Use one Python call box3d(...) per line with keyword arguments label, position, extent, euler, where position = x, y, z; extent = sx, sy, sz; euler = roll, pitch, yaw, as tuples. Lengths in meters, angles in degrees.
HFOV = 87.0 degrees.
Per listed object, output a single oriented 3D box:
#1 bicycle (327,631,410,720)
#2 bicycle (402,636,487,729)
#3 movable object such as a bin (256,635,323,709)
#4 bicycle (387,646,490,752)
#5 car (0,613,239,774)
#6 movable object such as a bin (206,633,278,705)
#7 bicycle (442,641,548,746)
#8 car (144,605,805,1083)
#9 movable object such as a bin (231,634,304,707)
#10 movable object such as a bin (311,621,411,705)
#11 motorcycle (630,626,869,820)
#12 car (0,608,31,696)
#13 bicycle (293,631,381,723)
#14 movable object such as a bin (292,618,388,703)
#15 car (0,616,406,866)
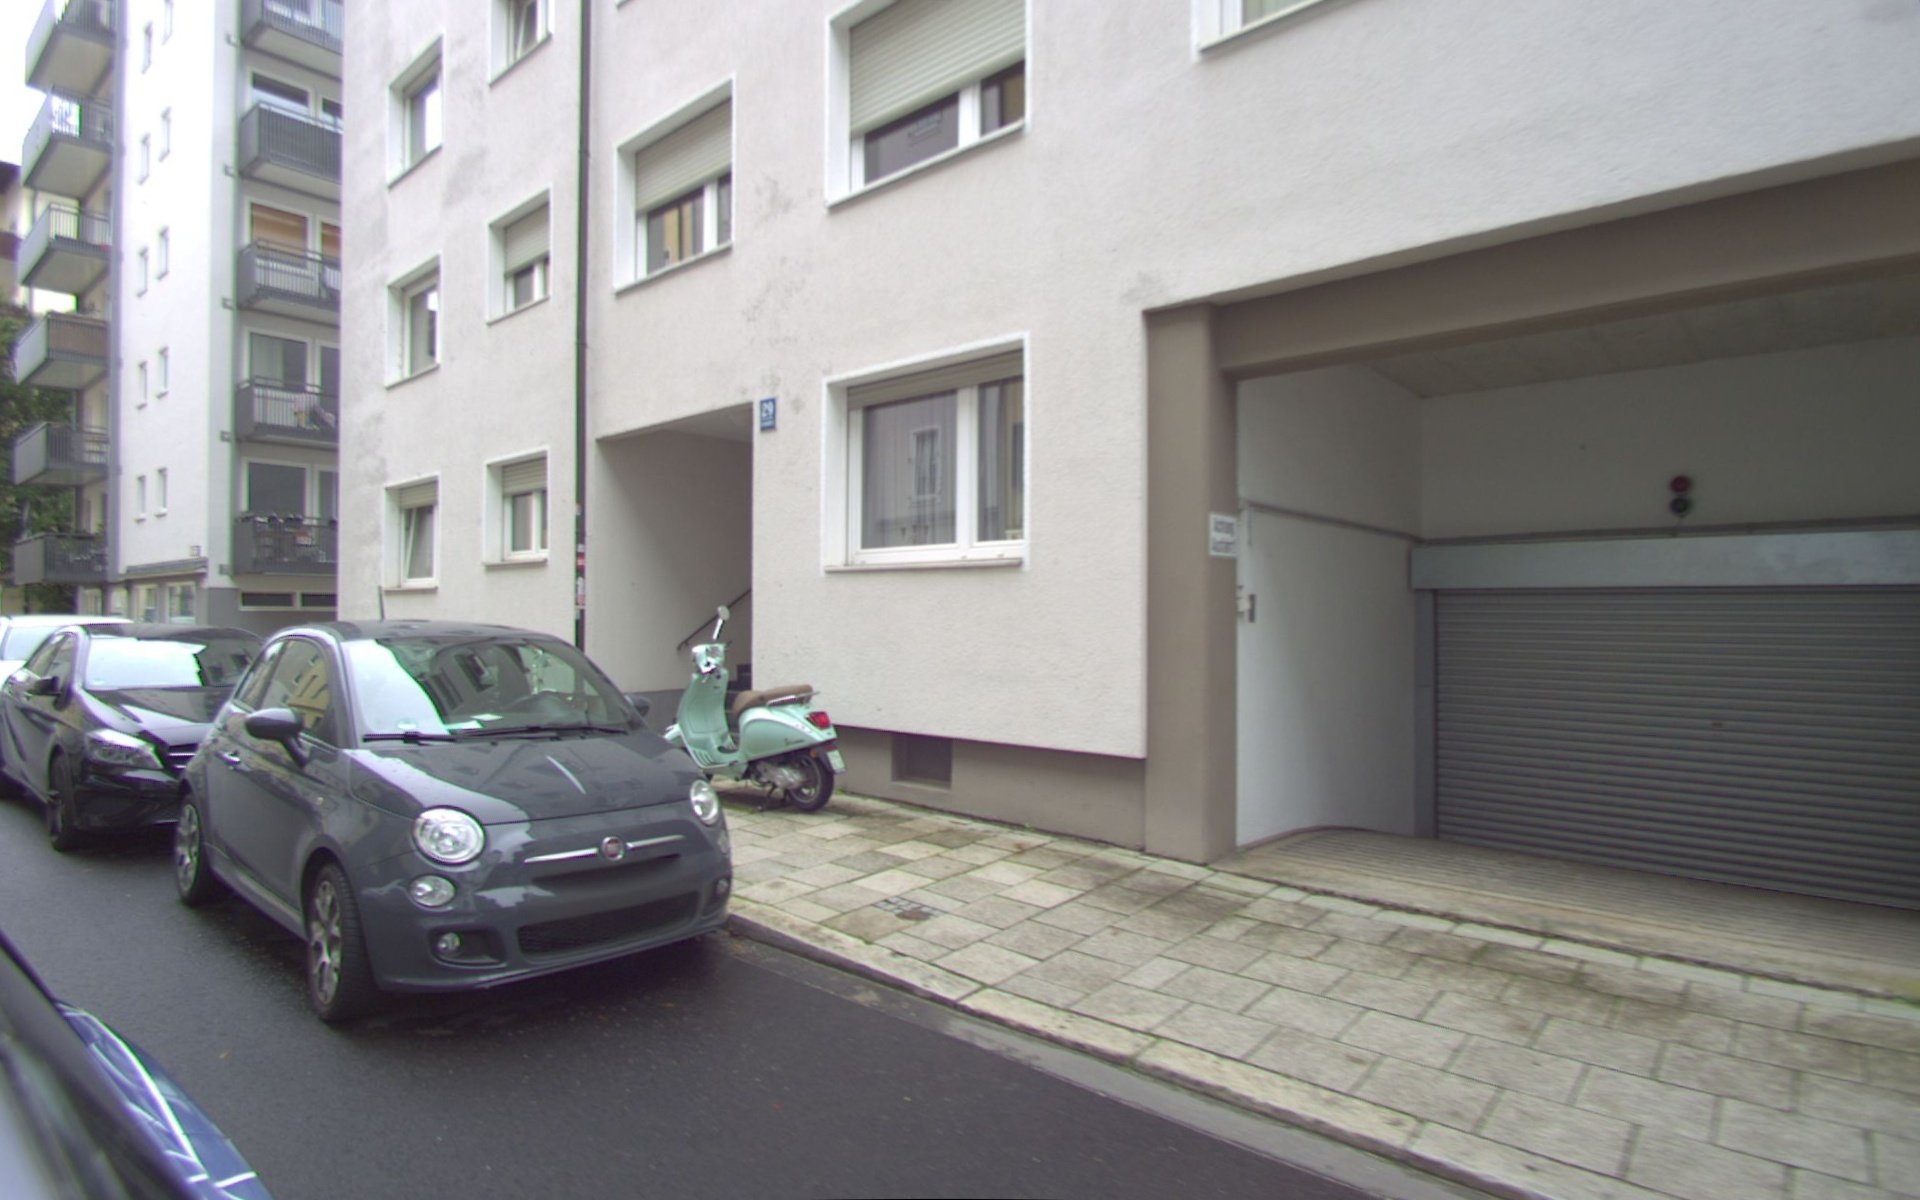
box3d(label="bicycle", position=(-8.162, 1.006, 13.945), extent=(1.680, 1.147, 0.338), euler=(-1, -1, 36))
box3d(label="bicycle", position=(-6.129, 0.954, 12.003), extent=(1.441, 1.024, 0.375), euler=(-1, -2, 42))
box3d(label="movable object such as a bin", position=(-10.273, 1.085, 15.510), extent=(0.603, 1.084, 0.684), euler=(-1, -1, 35))
box3d(label="bicycle", position=(-5.583, 1.017, 10.798), extent=(1.623, 1.024, 0.383), euler=(-1, -2, 41))
box3d(label="car", position=(-9.904, 0.870, 11.303), extent=(4.805, 1.448, 1.893), euler=(-1, -1, 40))
box3d(label="movable object such as a bin", position=(-11.444, 1.085, 16.138), extent=(0.677, 1.084, 0.761), euler=(-1, -1, 35))
box3d(label="bicycle", position=(-5.017, 0.969, 10.878), extent=(1.574, 1.024, 0.394), euler=(-1, -2, 41))
box3d(label="car", position=(-2.594, 0.801, 4.975), extent=(3.742, 1.457, 1.594), euler=(-1, -3, 42))
box3d(label="movable object such as a bin", position=(-10.825, 1.082, 15.828), extent=(0.633, 1.084, 0.761), euler=(-1, -1, 35))
box3d(label="movable object such as a bin", position=(-9.670, 0.981, 16.351), extent=(1.096, 1.272, 1.109), euler=(-1, -1, 41))
box3d(label="motorcycle", position=(-1.546, 0.806, 7.257), extent=(1.855, 1.213, 0.594), euler=(-1, -1, 36))
box3d(label="car", position=(-19.862, 0.972, 19.795), extent=(4.537, 1.619, 1.947), euler=(-1, -1, 40))
box3d(label="bicycle", position=(-8.383, 1.008, 13.600), extent=(1.681, 1.147, 0.400), euler=(-1, -1, 37))
box3d(label="movable object such as a bin", position=(-10.485, 0.986, 17.116), extent=(1.103, 1.364, 1.099), euler=(-1, -1, 41))
box3d(label="car", position=(-6.153, 0.841, 7.854), extent=(4.222, 1.427, 1.783), euler=(-1, -1, 39))
